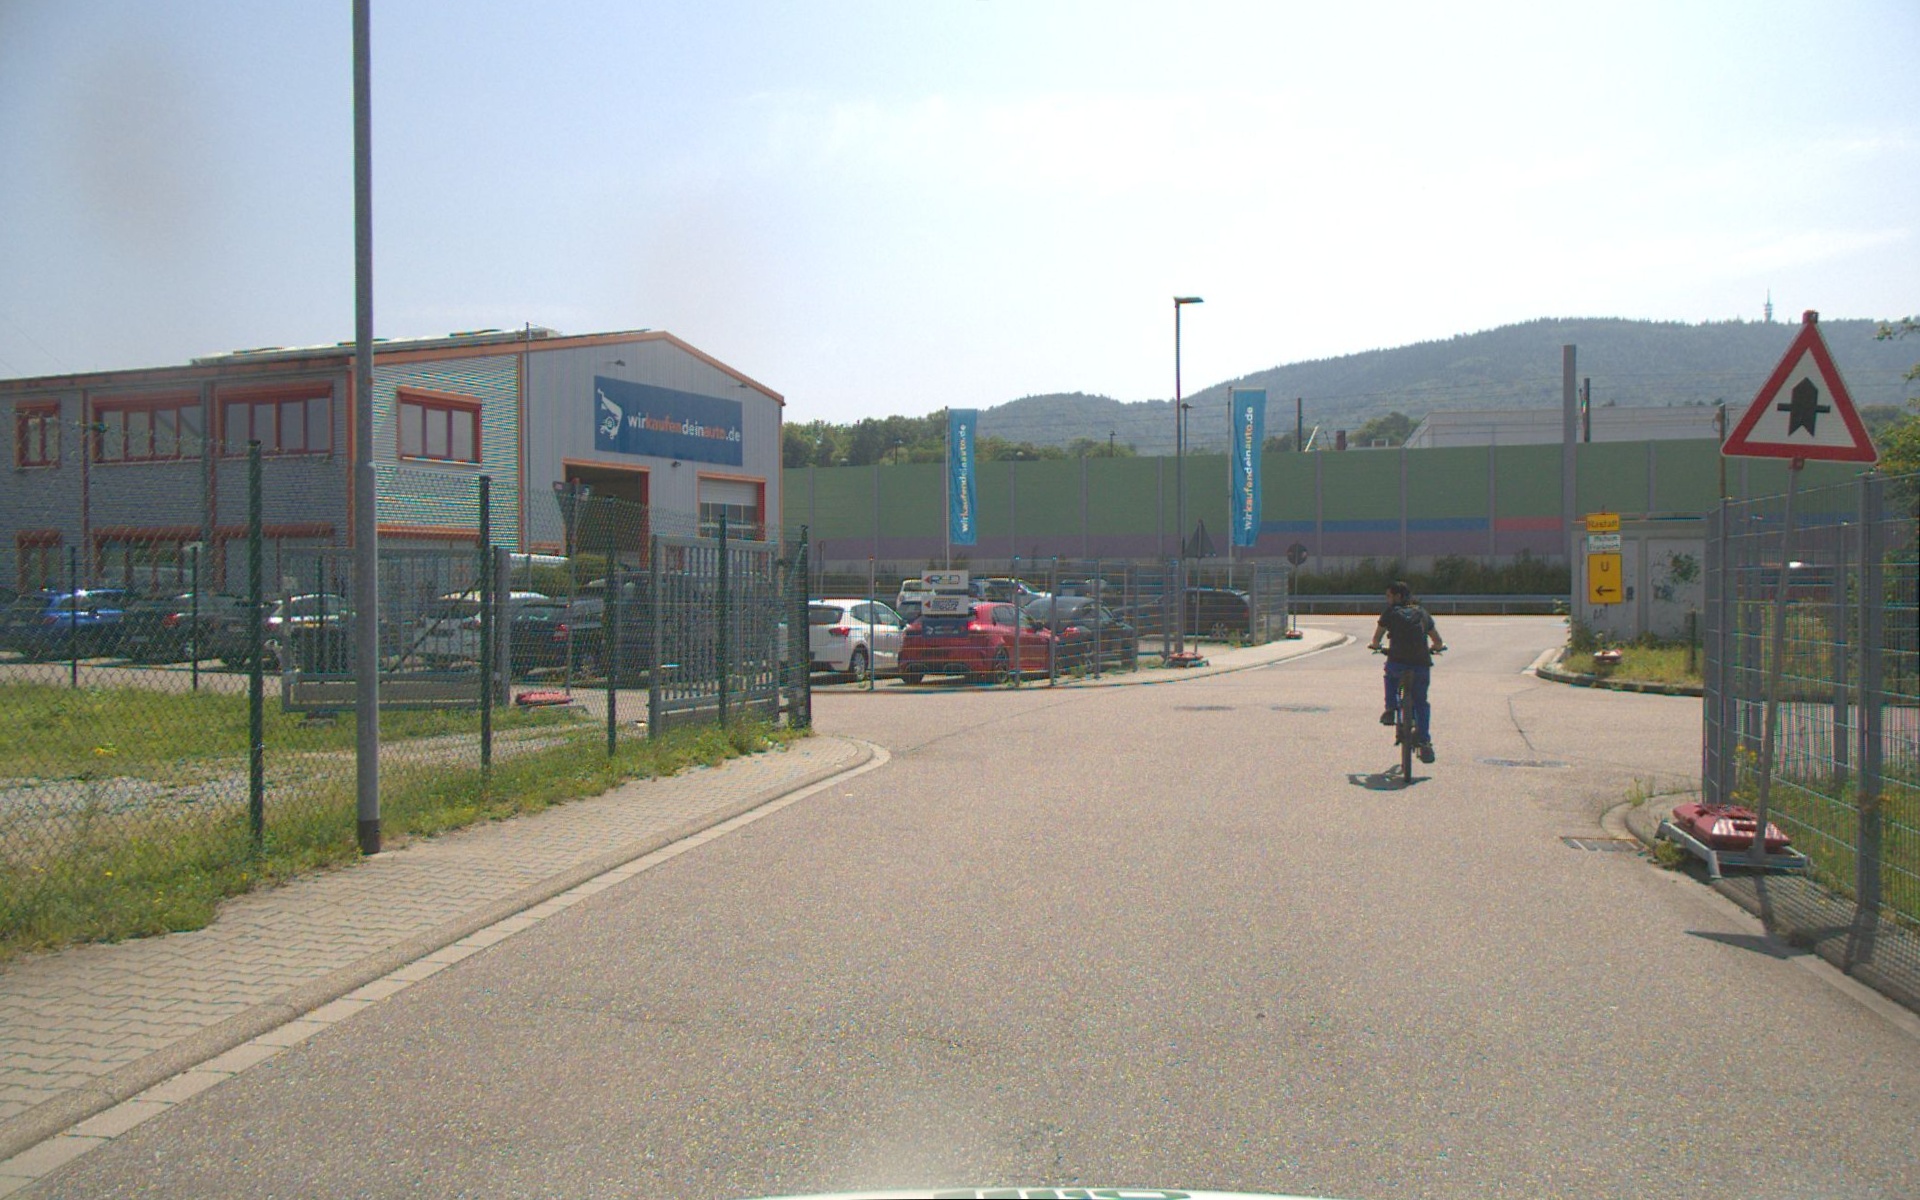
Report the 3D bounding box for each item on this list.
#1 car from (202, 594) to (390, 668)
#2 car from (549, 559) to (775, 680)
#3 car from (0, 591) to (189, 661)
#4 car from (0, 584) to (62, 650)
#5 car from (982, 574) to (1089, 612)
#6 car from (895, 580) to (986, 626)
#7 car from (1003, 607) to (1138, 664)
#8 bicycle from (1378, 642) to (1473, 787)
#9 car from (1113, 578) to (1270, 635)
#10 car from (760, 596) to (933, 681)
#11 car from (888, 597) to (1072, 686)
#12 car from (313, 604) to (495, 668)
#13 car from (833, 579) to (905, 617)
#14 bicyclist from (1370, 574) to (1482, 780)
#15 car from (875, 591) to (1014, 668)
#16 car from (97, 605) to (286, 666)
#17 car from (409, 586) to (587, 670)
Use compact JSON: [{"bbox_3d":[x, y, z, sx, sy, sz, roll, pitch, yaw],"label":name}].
[{"bbox_3d":[-13.542,0.598,33.924,1.473,1.405,3.602,0,1,24],"label":"car"},{"bbox_3d":[-5.389,0.304,30.556,1.911,2.066,4.516,0,1,24],"label":"car"},{"bbox_3d":[-18.988,0.535,36.396,1.473,1.441,3.602,0,1,24],"label":"car"},{"bbox_3d":[-23.772,0.422,39.838,1.473,1.571,3.602,0,1,24],"label":"car"},{"bbox_3d":[3.080,-0.286,67.180,3.907,1.519,1.999,0,1,24],"label":"car"},{"bbox_3d":[-0.675,0.080,61.193,1.953,1.609,4.000,0,1,22],"label":"car"},{"bbox_3d":[2.328,0.686,33.756,1.453,1.024,4.112,0,1,24],"label":"car"},{"bbox_3d":[3.880,0.917,13.889,0.670,1.070,1.902,0,0,13],"label":"bicycle"},{"bbox_3d":[6.451,0.174,46.106,3.910,1.519,1.998,0,1,28],"label":"car"},{"bbox_3d":[-2.013,0.658,30.445,1.710,1.429,3.602,0,1,24],"label":"car"},{"bbox_3d":[0.437,0.683,29.537,1.832,1.411,4.112,0,1,24],"label":"car"},{"bbox_3d":[-11.233,0.701,33.641,1.473,1.171,3.602,0,1,24],"label":"car"},{"bbox_3d":[-4.227,-0.110,77.095,1.665,1.686,3.998,0,1,25],"label":"car"},{"bbox_3d":[3.884,0.617,13.849,0.824,1.647,1.040,0,0,12],"label":"bicyclist"},{"bbox_3d":[-0.265,0.566,34.709,1.453,1.480,3.893,0,1,24],"label":"car"},{"bbox_3d":[-16.389,0.730,35.418,1.473,1.171,3.602,0,1,24],"label":"car"},{"bbox_3d":[-9.136,0.513,32.945,1.473,1.566,3.602,0,1,24],"label":"car"}]
